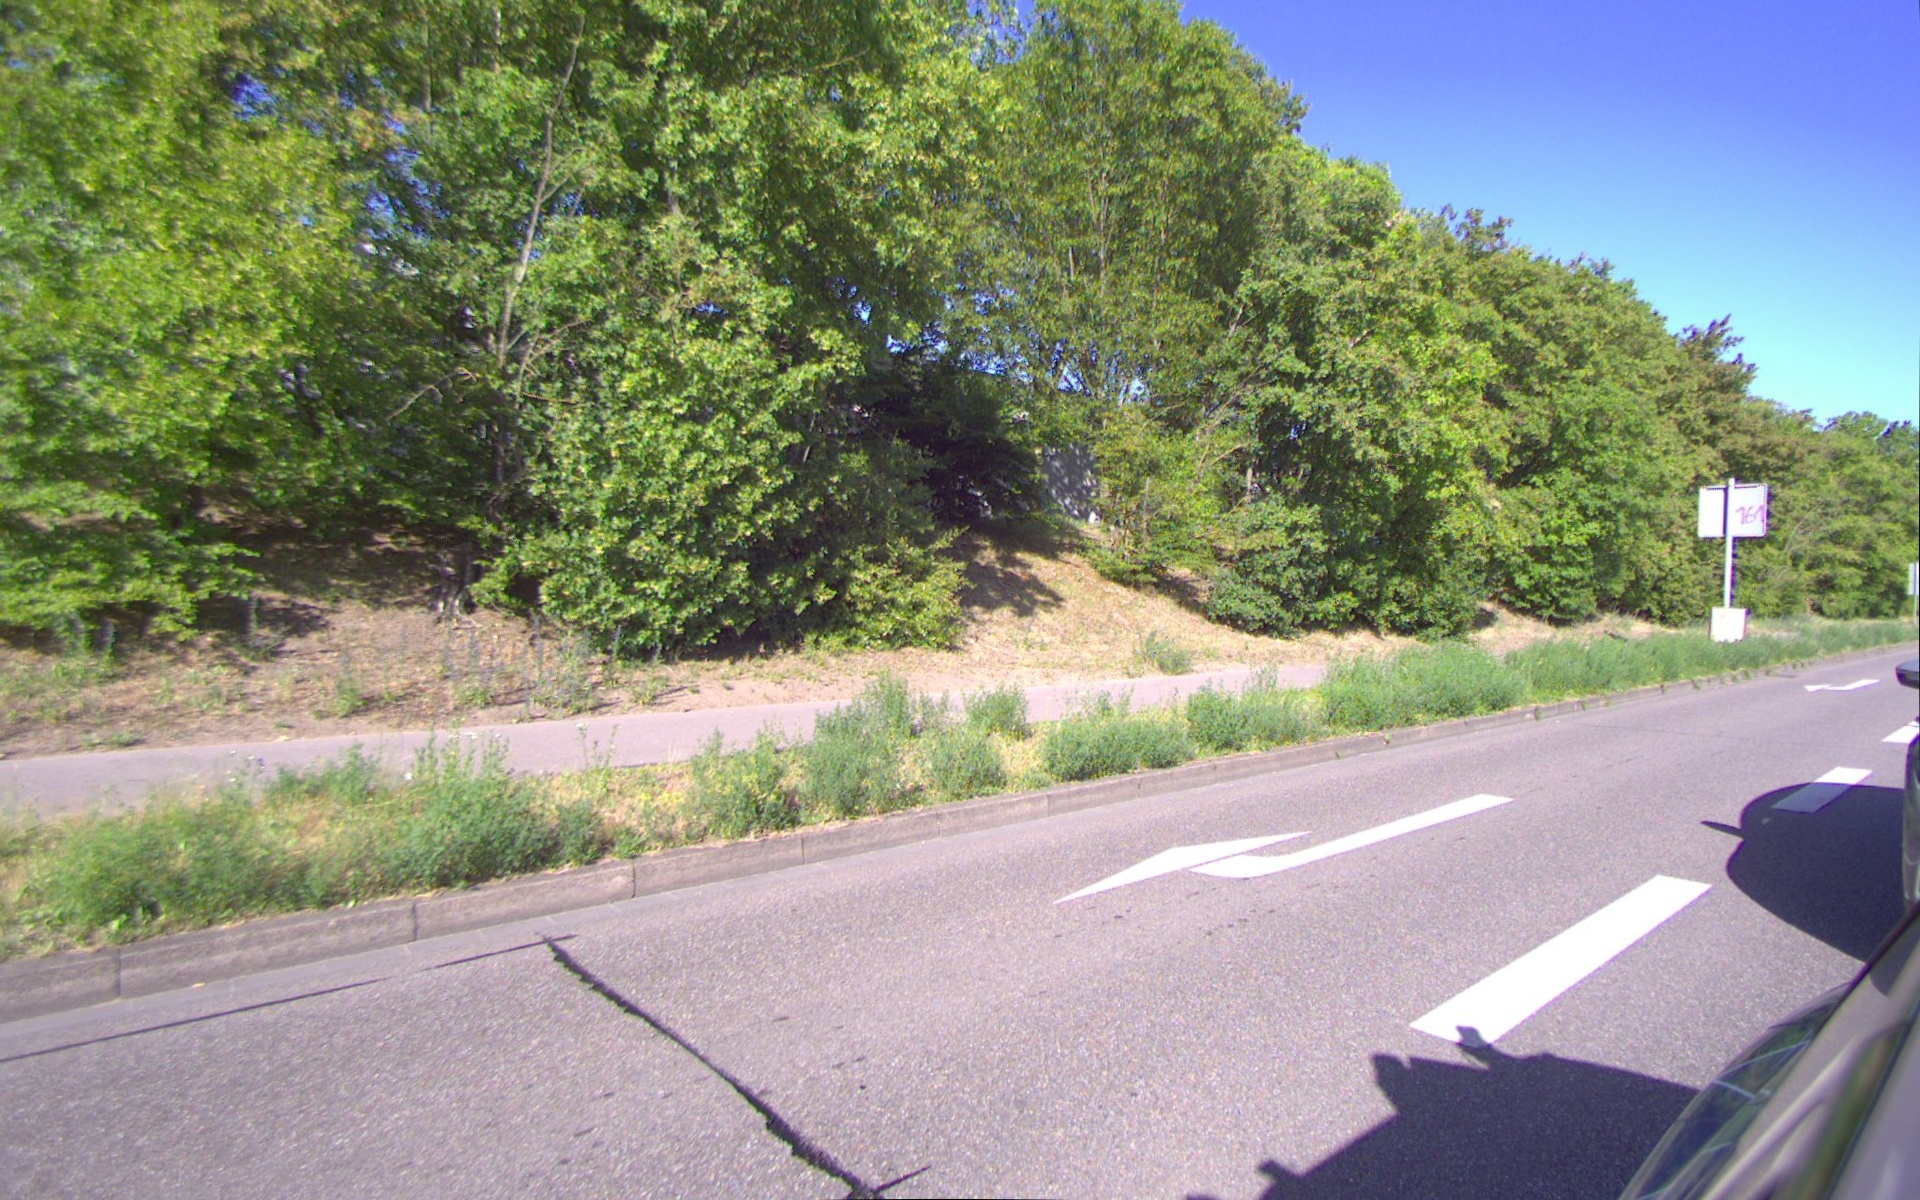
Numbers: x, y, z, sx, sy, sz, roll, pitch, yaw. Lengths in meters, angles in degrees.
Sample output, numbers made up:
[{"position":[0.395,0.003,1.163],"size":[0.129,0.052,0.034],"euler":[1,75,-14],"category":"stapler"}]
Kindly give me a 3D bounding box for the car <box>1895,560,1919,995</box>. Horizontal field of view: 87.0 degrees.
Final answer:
[{"position":[5.718,0.658,4.532],"size":[4.327,1.603,1.860],"euler":[0,0,-42],"category":"car"}]
